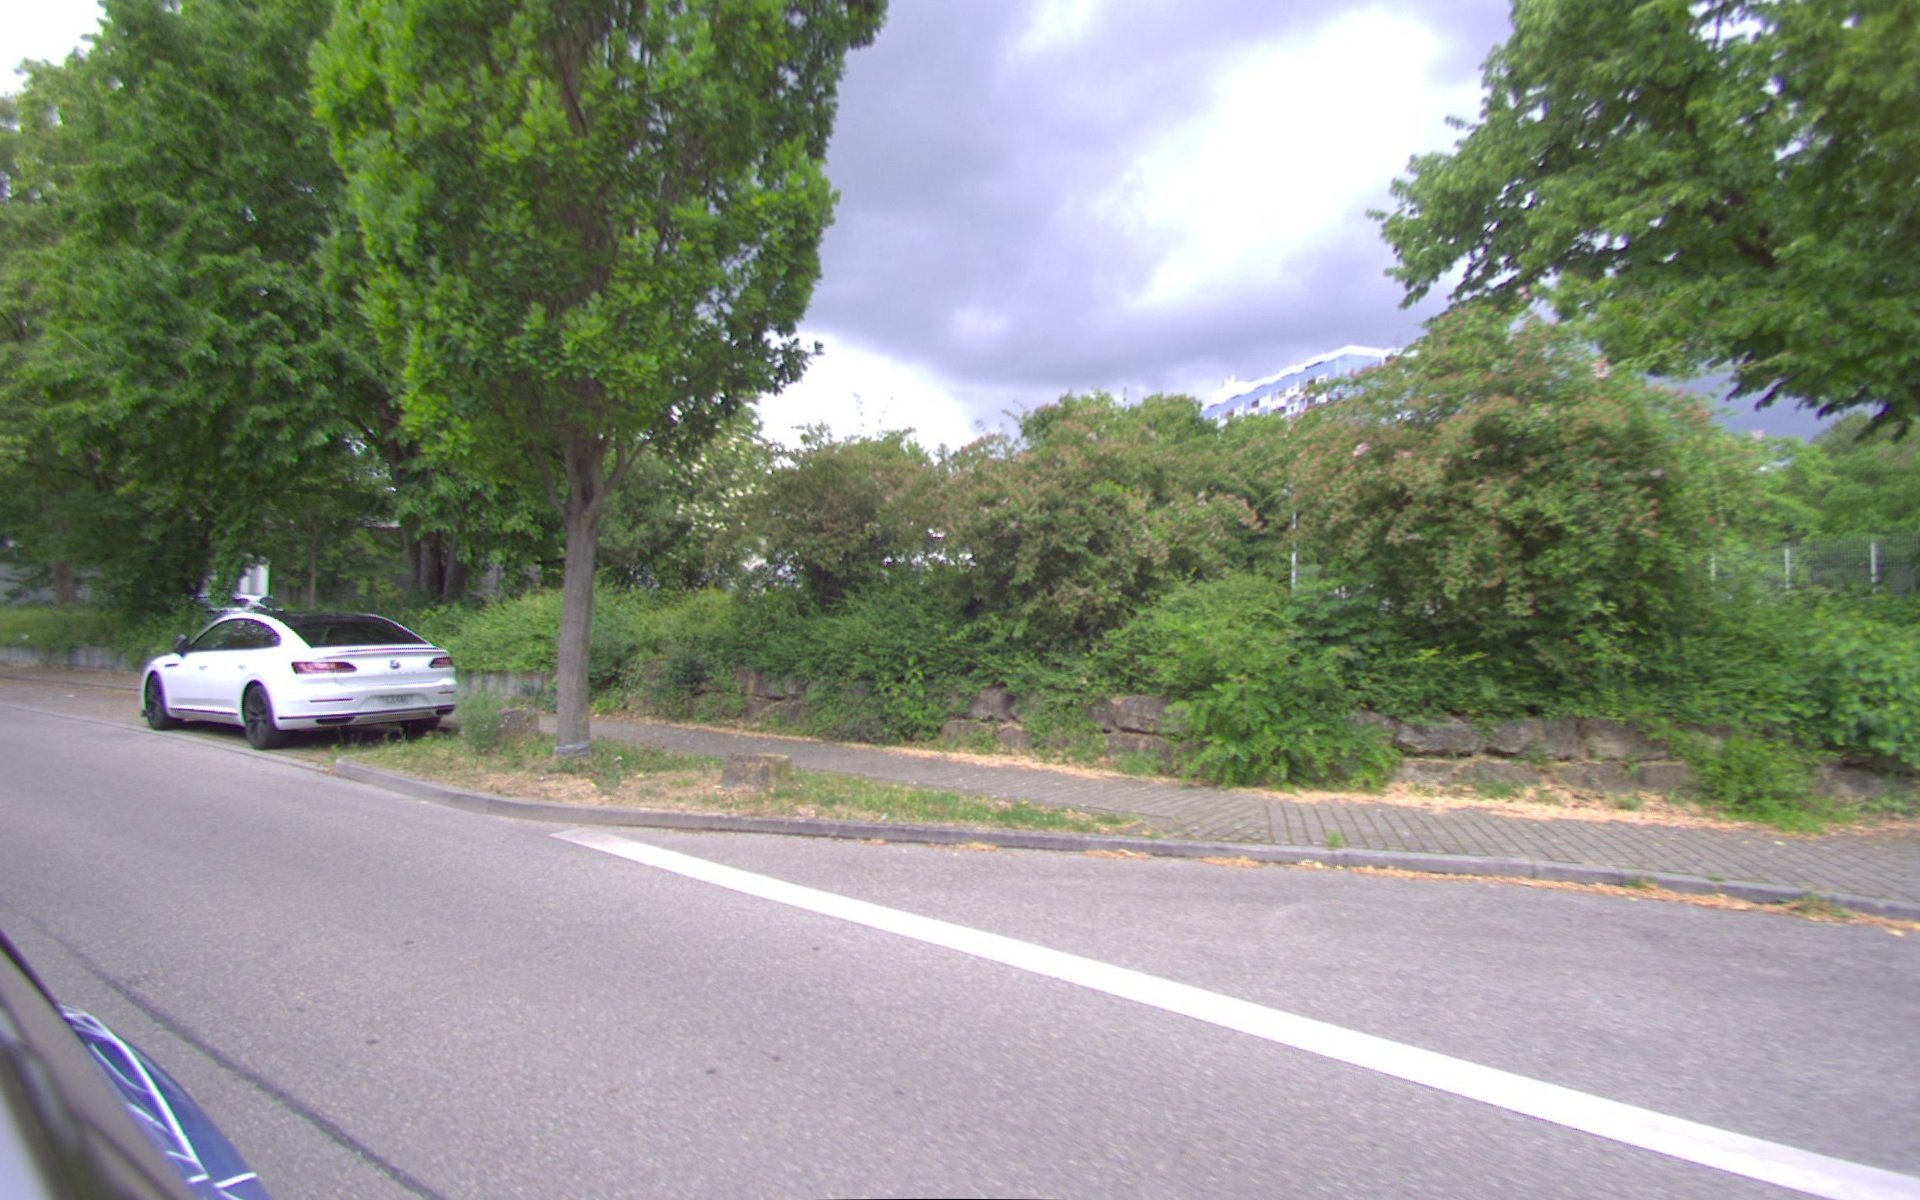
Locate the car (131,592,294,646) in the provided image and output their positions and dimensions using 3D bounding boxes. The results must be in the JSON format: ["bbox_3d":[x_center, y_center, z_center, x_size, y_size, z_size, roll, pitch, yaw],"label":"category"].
[{"bbox_3d":[-24.065,0.594,32.735,3.749,1.650,2.005,0,0,-12],"label":"car"}]

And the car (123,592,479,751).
[{"bbox_3d":[-7.691,0.710,11.660,4.624,1.503,1.832,-1,-1,35],"label":"car"}]
